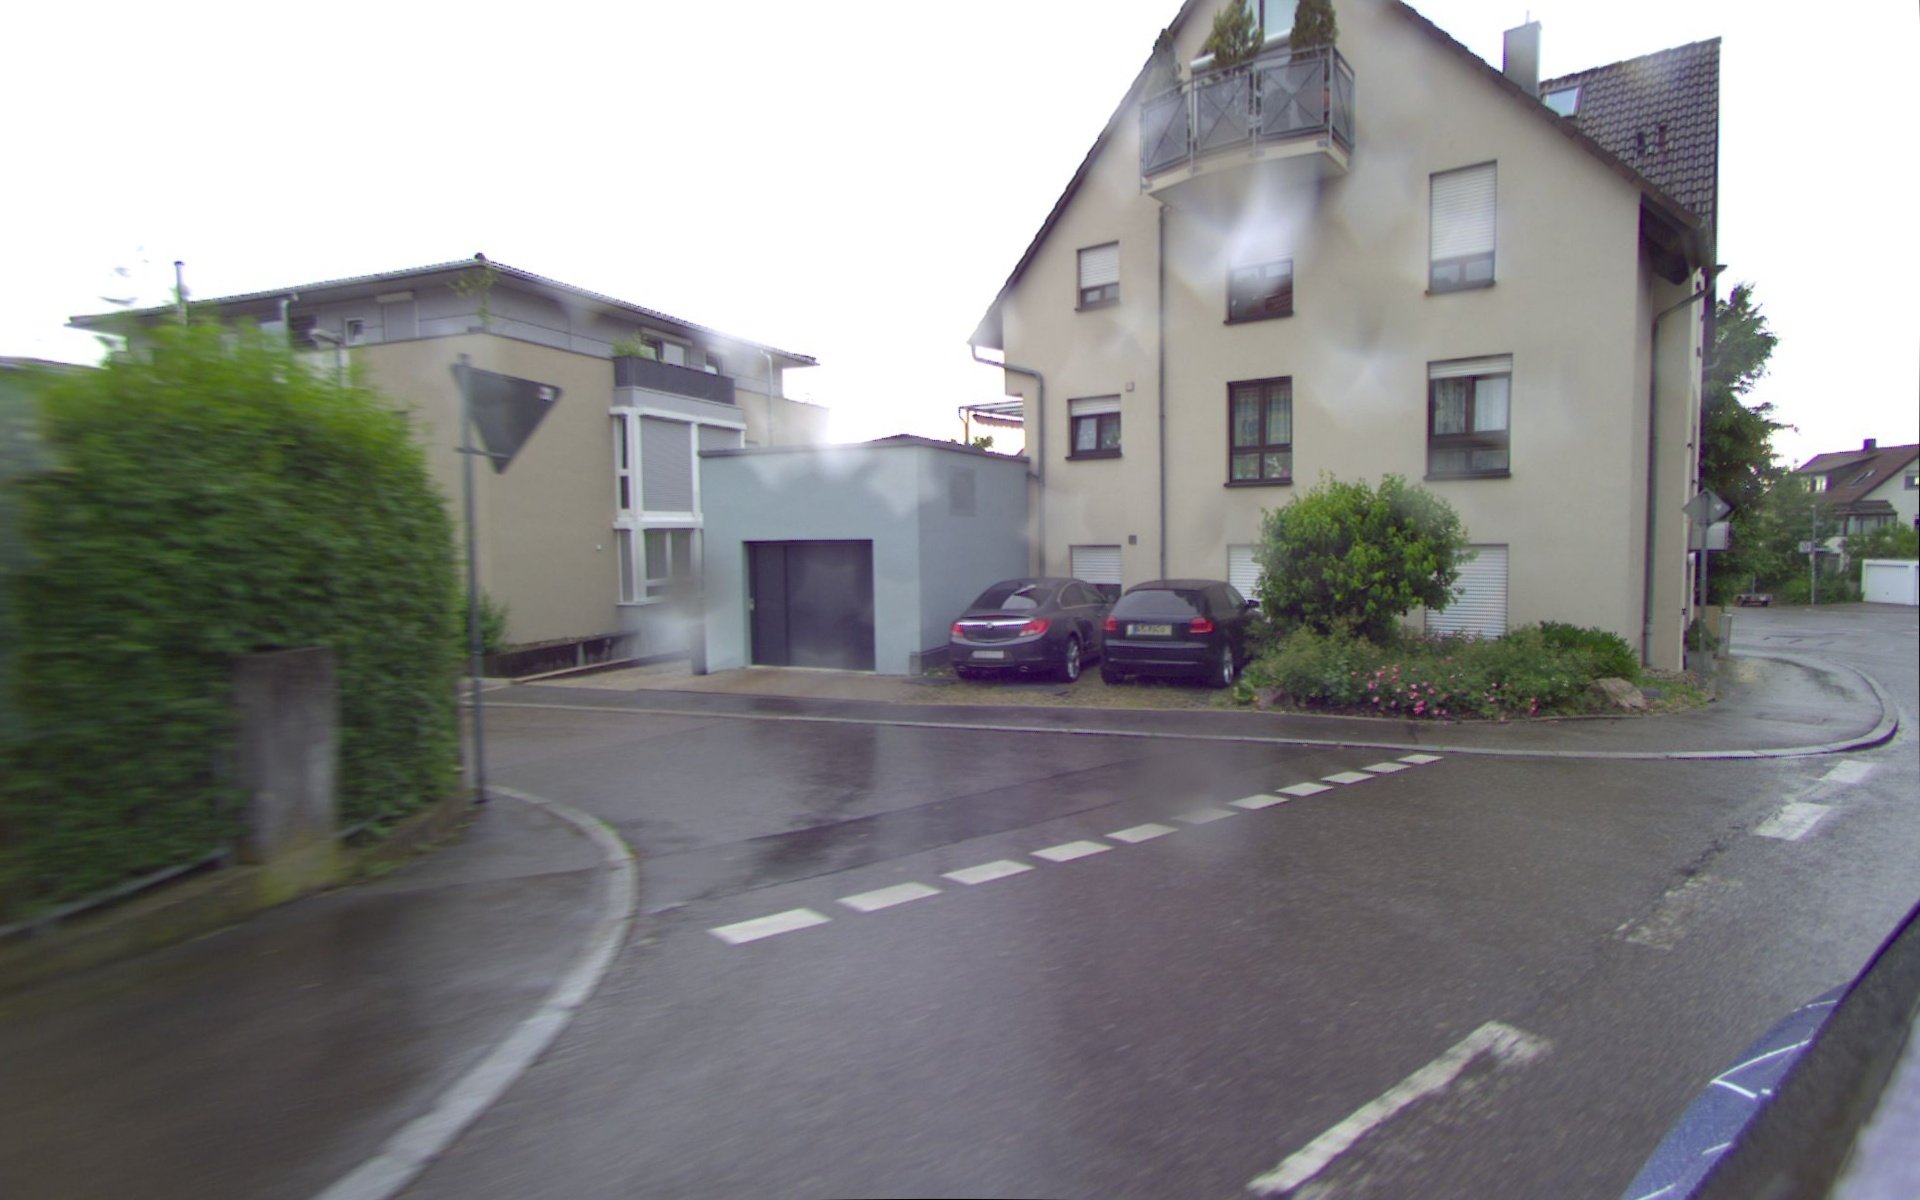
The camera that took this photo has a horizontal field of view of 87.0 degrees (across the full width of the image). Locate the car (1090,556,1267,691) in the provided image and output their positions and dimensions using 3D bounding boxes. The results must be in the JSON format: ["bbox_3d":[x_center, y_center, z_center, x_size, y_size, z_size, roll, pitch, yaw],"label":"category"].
[{"bbox_3d":[3.308,0.233,14.759,1.706,1.423,3.742,-1,6,25],"label":"car"}]

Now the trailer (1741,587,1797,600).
[{"bbox_3d":[49.728,-0.402,62.261,1.716,0.768,2.812,0,1,15],"label":"trailer"}]

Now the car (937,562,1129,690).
[{"bbox_3d":[1.258,0.303,15.676,1.706,1.423,3.742,-1,6,25],"label":"car"}]
